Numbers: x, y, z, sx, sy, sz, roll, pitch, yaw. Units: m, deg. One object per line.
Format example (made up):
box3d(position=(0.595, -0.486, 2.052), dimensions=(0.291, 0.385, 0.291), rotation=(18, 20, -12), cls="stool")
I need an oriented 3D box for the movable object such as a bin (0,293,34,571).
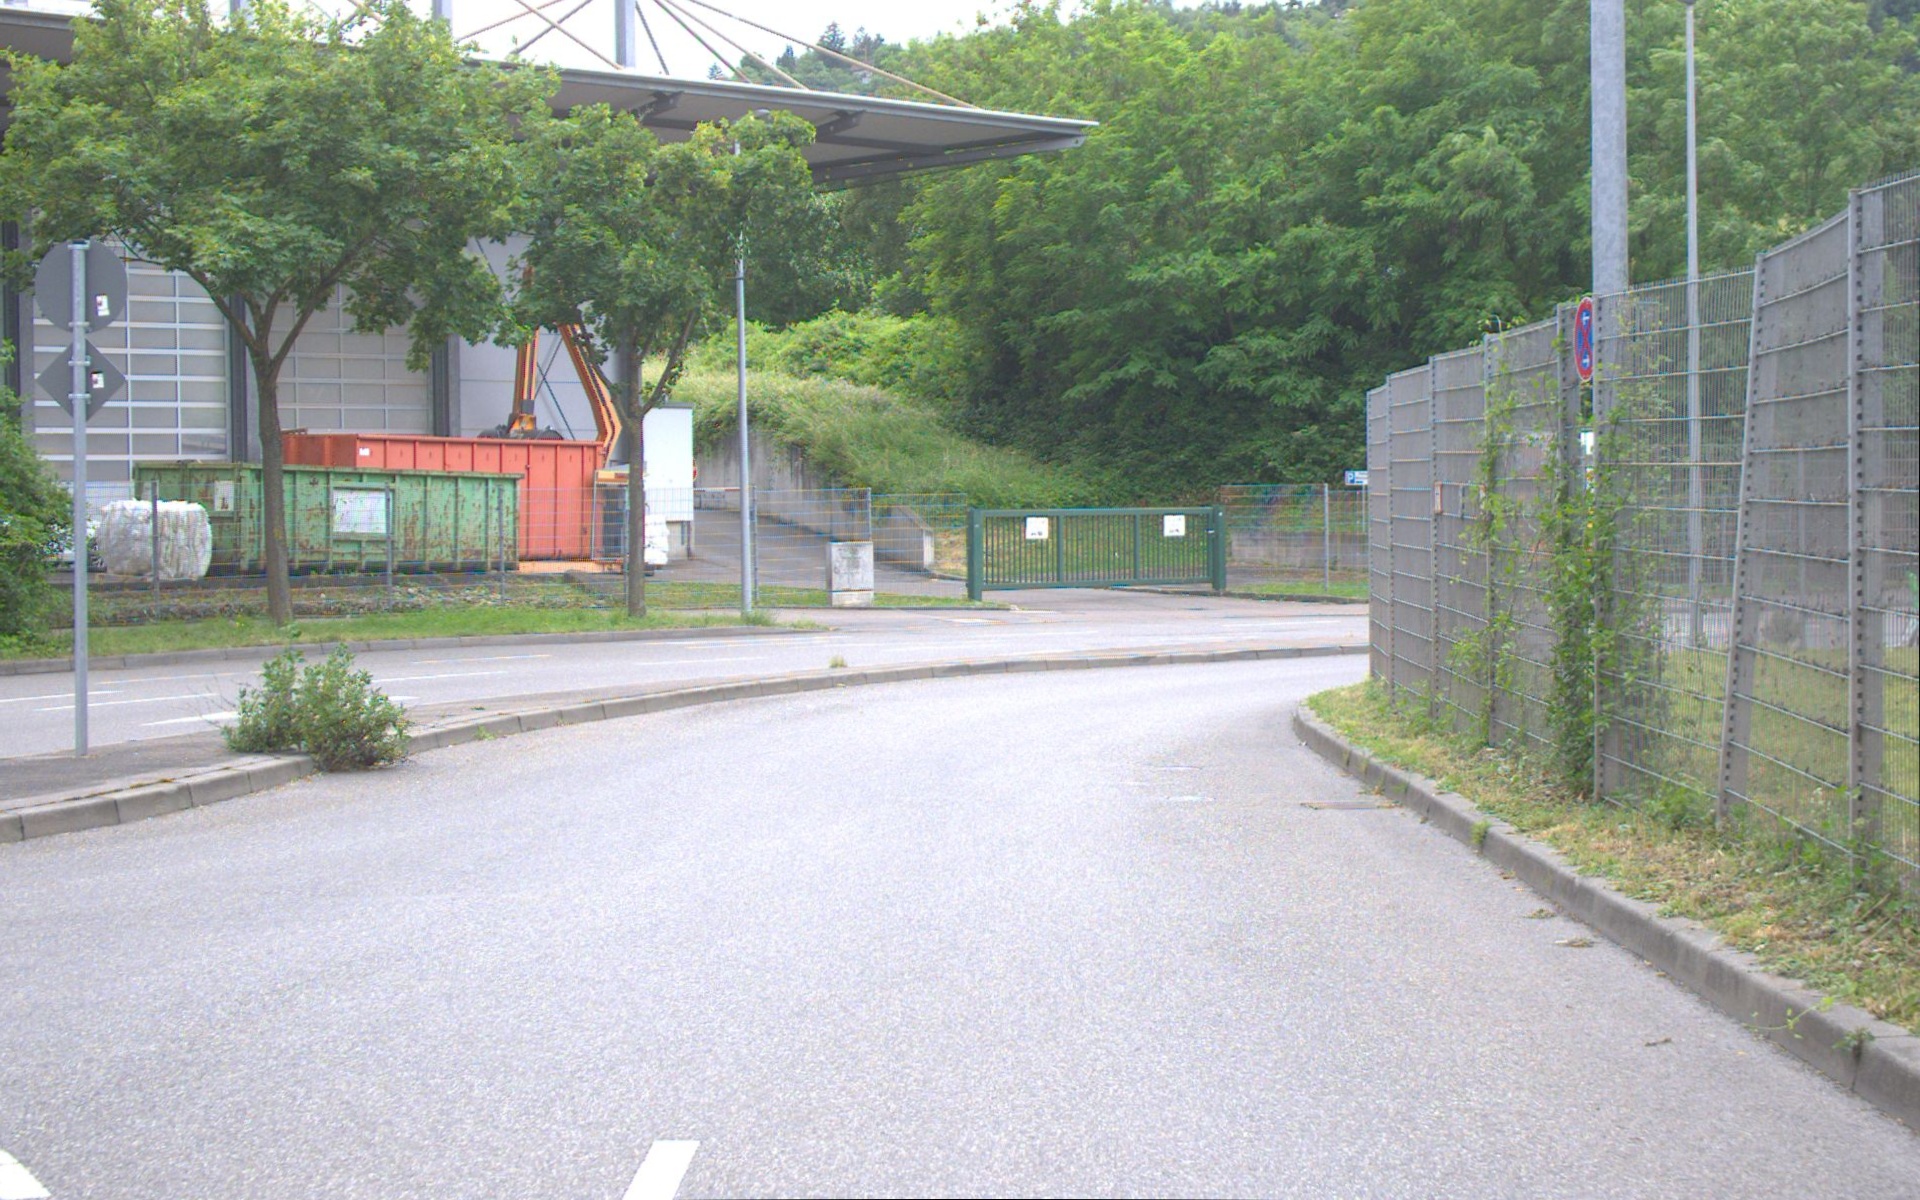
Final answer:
box3d(position=(-16.747, -2.369, 48.990), dimensions=(2.730, 4.077, 6.540), rotation=(0, 2, 35), cls="movable object such as a bin")
